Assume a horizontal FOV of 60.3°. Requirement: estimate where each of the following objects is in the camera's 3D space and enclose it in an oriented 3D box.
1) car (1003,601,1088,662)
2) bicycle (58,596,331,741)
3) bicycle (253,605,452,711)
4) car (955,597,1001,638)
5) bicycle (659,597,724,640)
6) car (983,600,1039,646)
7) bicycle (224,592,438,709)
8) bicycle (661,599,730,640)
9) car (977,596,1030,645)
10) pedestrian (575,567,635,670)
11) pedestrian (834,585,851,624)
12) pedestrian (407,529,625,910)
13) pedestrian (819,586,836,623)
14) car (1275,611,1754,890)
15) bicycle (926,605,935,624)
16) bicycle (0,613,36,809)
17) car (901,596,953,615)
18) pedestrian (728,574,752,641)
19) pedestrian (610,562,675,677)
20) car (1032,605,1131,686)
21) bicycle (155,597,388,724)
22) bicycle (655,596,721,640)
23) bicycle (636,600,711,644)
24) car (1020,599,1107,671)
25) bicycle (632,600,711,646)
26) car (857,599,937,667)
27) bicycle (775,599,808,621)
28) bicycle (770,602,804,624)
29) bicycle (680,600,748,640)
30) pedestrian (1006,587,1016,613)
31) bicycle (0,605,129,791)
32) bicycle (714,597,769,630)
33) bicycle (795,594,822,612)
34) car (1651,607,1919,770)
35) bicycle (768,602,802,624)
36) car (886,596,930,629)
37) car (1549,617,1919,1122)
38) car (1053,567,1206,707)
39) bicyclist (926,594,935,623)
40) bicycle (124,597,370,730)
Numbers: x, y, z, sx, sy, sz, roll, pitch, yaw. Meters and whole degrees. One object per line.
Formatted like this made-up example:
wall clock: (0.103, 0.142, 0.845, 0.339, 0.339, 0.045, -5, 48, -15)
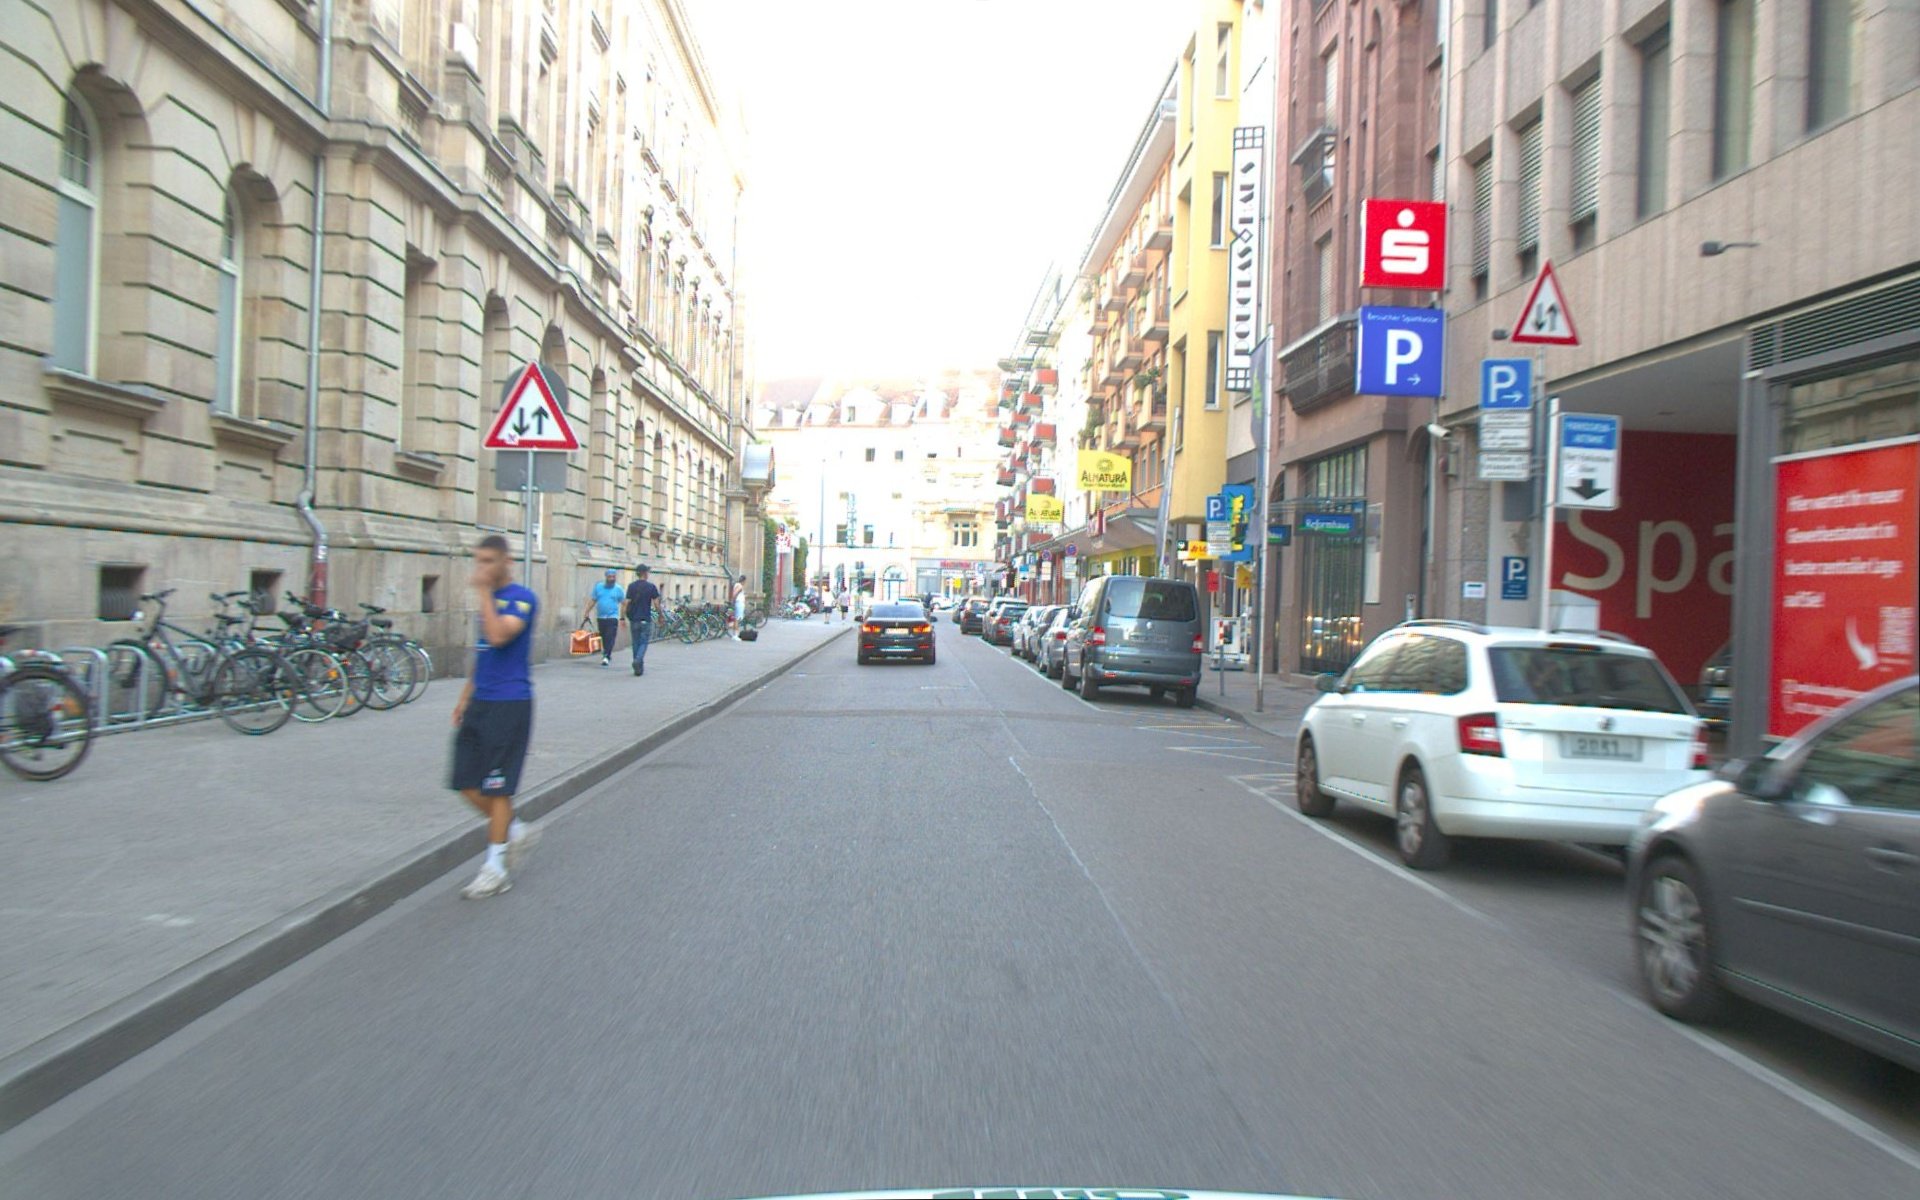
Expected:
car: (2.303, 0.824, 45.580, 1.658, 1.435, 4.635, 4, 0, -5)
bicycle: (-6.431, 0.571, 13.986, 1.901, 1.097, 0.729, 4, -1, -9)
bicycle: (-6.672, 0.635, 18.250, 1.898, 1.064, 0.721, 2, 0, -7)
car: (0.826, 0.731, 72.602, 1.757, 1.637, 4.488, 4, 0, 3)
bicycle: (-7.653, 0.531, 47.249, 1.760, 1.127, 0.499, 3, -1, -8)
car: (1.751, 0.779, 58.416, 1.657, 1.439, 4.755, 4, 0, -1)
bicycle: (-6.563, 0.522, 17.335, 1.899, 1.097, 0.747, 3, -1, -3)
bicycle: (-7.675, 0.569, 48.062, 1.901, 1.080, 0.618, 3, -1, -8)
car: (1.621, 0.748, 63.382, 1.717, 1.697, 4.755, 4, 0, -1)
pedestrian: (-6.391, 0.322, 29.806, 0.812, 1.776, 0.768, 4, 0, -2)
pedestrian: (-6.016, 0.233, 84.987, 0.729, 1.926, 1.050, 3, 0, -1)
pedestrian: (-2.276, 0.569, 8.478, 0.814, 1.820, 0.766, 0, 0, -44)
pedestrian: (-6.802, 0.236, 84.736, 0.726, 1.844, 1.008, 4, 0, -2)
car: (3.486, 0.848, 11.306, 1.623, 1.473, 4.306, 3, -1, -2)
bicycle: (-1.847, 0.915, 103.324, 0.525, 1.127, 1.800, 2, 0, -1)
bicycle: (-6.330, 0.574, 9.174, 1.901, 1.097, 0.729, 4, -1, -9)
car: (-2.905, 0.522, 145.957, 4.262, 1.590, 1.868, 1, -1, 21)
pedestrian: (-6.308, 0.214, 47.365, 0.577, 1.883, 0.753, 3, 0, -7)
pedestrian: (-5.115, 0.316, 26.715, 0.793, 1.781, 0.969, 3, -1, -2)
car: (2.535, 0.919, 35.300, 1.653, 1.478, 4.497, 4, 0, -1)
bicycle: (-6.652, 0.580, 16.065, 1.901, 1.097, 0.729, 4, -1, -9)
bicycle: (-7.562, 0.512, 46.052, 1.760, 1.127, 0.499, 3, -1, -8)
bicycle: (-7.580, 0.583, 43.831, 1.901, 1.080, 0.618, 3, -1, -8)
car: (2.476, 0.809, 40.413, 1.586, 1.542, 4.171, 4, 0, -3)
bicycle: (-7.423, 0.595, 42.588, 1.899, 1.080, 0.619, 3, -1, -3)
car: (-1.443, 0.727, 38.880, 1.729, 1.399, 4.789, 2, 0, -1)
bicycle: (-9.482, 0.567, 92.859, 1.757, 1.127, 0.500, 2, 0, 1)
bicycle: (-9.458, 0.720, 90.337, 1.758, 1.127, 0.500, 2, 0, -2)
bicycle: (-7.287, 0.603, 49.119, 1.899, 1.080, 0.619, 3, -1, -4)
pedestrian: (3.321, -0.002, 107.638, 0.635, 1.690, 0.794, -1, 0, 0)
bicycle: (-6.385, 0.568, 10.362, 1.901, 1.097, 0.729, 4, -1, -9)
bicycle: (-8.199, 0.499, 61.954, 1.906, 1.080, 0.617, 5, -1, -17)
bicycle: (-10.126, 0.196, 110.402, 1.760, 1.127, 0.499, 3, 0, -7)
car: (9.752, 0.935, 17.195, 4.315, 1.527, 1.916, 2, -1, -4)
bicycle: (-9.595, 0.719, 90.678, 1.758, 1.127, 0.500, 2, 0, -3)
car: (-2.482, 0.601, 79.397, 1.838, 1.498, 4.001, 1, 0, 2)
car: (3.639, 0.840, 5.336, 1.624, 1.473, 4.442, 3, -1, -3)
car: (2.772, 0.595, 28.217, 1.810, 2.094, 5.051, 3, -1, -2)
bicyclist: (-1.833, 0.538, 103.304, 0.513, 1.787, 0.620, 2, 0, -1)
bicycle: (-6.558, 0.576, 15.297, 1.901, 1.097, 0.729, 4, -1, -9)
